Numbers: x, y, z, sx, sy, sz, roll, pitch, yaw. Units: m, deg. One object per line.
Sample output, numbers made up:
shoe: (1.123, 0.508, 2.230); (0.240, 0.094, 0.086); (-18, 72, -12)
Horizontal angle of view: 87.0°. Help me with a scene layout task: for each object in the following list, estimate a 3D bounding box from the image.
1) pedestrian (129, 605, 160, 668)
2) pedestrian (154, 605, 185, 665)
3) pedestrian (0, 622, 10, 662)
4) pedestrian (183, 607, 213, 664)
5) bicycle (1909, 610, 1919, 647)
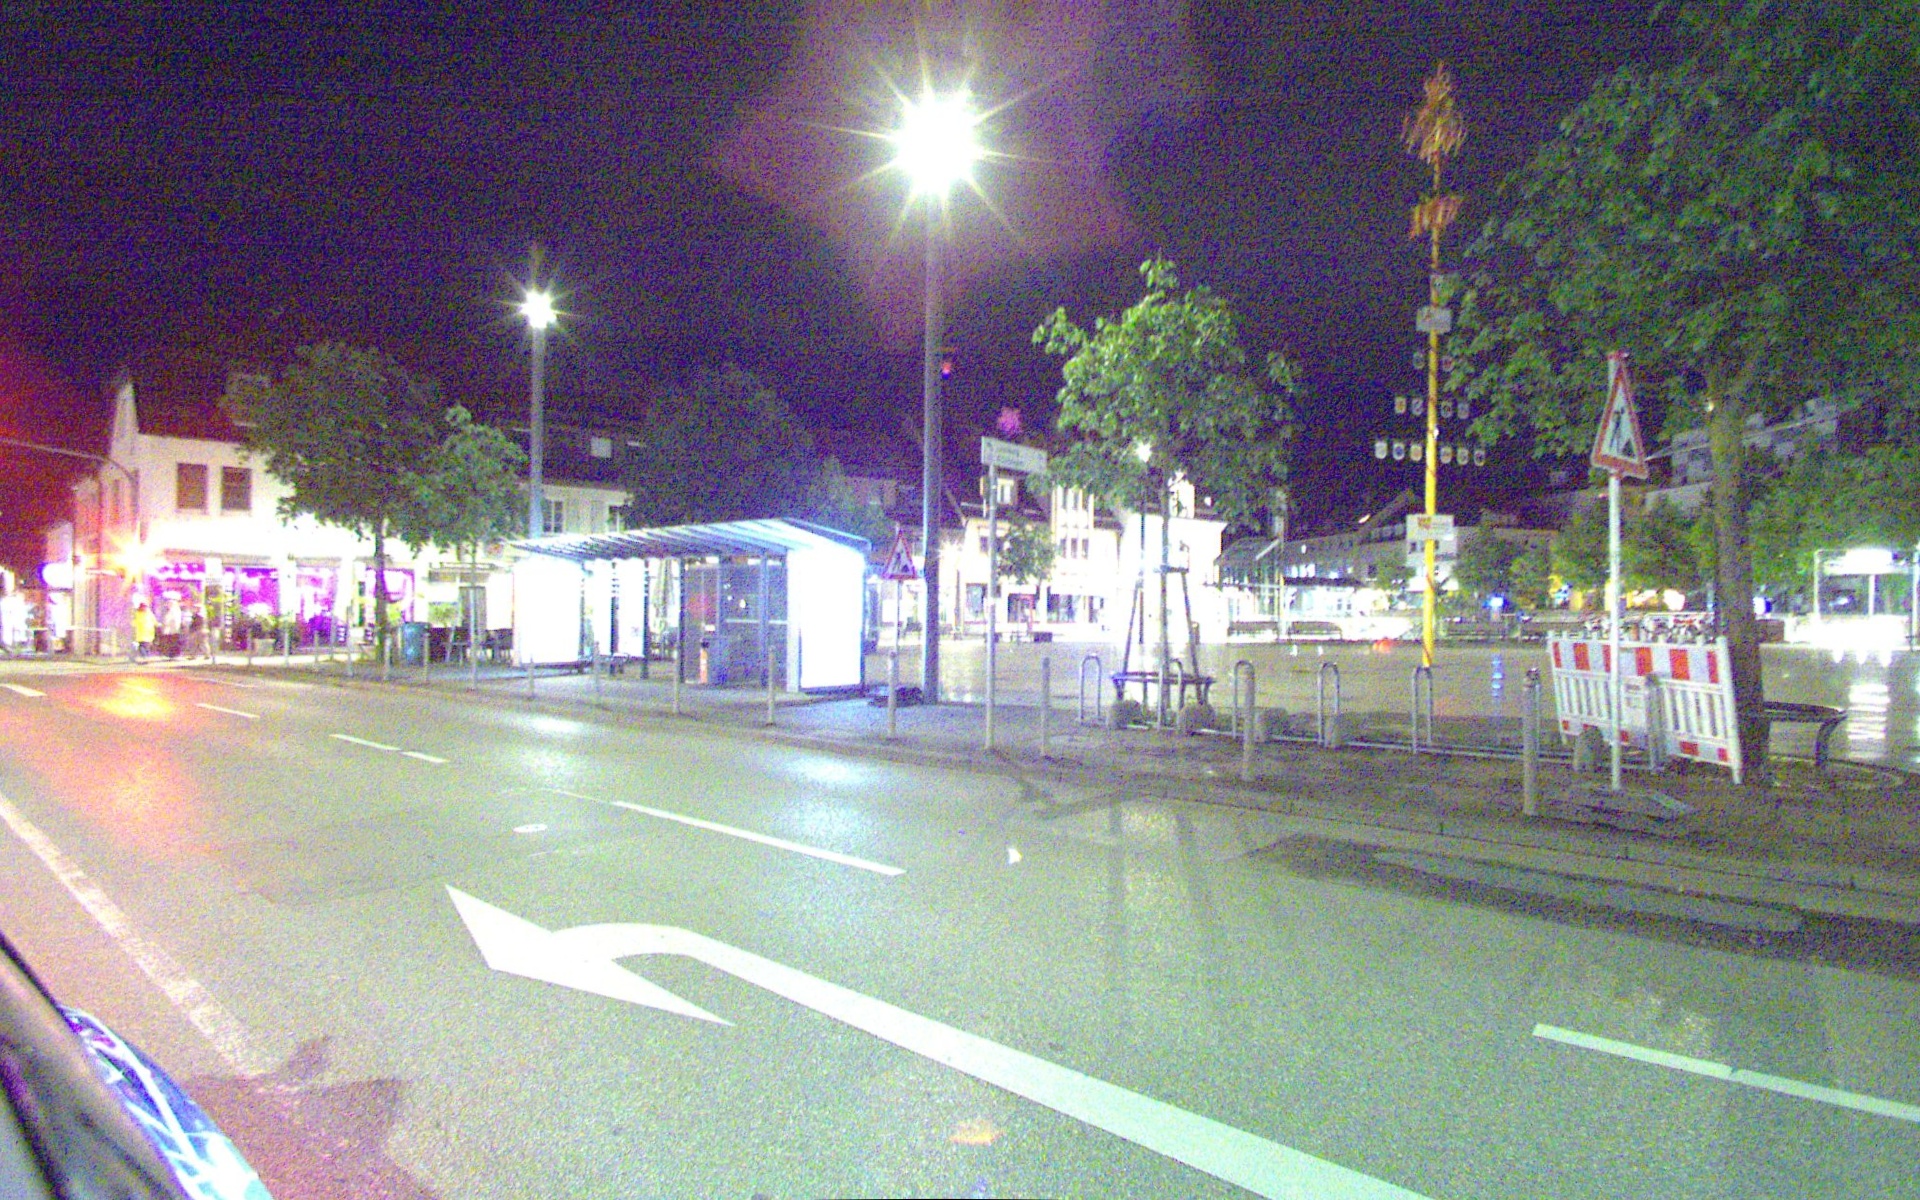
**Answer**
pedestrian: (-22.329, 0.993, 27.731); (0.531, 1.694, 0.649); (-1, 0, -27)
pedestrian: (-22.963, 1.001, 29.396); (0.573, 1.694, 0.649); (-1, 0, -27)
pedestrian: (-36.847, 1.603, 38.567); (0.816, 1.507, 0.649); (2, -2, -34)
pedestrian: (-22.358, 1.020, 29.696); (0.573, 1.640, 0.649); (-1, 0, -27)
bicycle: (26.417, 0.754, 26.978); (1.525, 0.965, 0.476); (-1, 0, 25)
